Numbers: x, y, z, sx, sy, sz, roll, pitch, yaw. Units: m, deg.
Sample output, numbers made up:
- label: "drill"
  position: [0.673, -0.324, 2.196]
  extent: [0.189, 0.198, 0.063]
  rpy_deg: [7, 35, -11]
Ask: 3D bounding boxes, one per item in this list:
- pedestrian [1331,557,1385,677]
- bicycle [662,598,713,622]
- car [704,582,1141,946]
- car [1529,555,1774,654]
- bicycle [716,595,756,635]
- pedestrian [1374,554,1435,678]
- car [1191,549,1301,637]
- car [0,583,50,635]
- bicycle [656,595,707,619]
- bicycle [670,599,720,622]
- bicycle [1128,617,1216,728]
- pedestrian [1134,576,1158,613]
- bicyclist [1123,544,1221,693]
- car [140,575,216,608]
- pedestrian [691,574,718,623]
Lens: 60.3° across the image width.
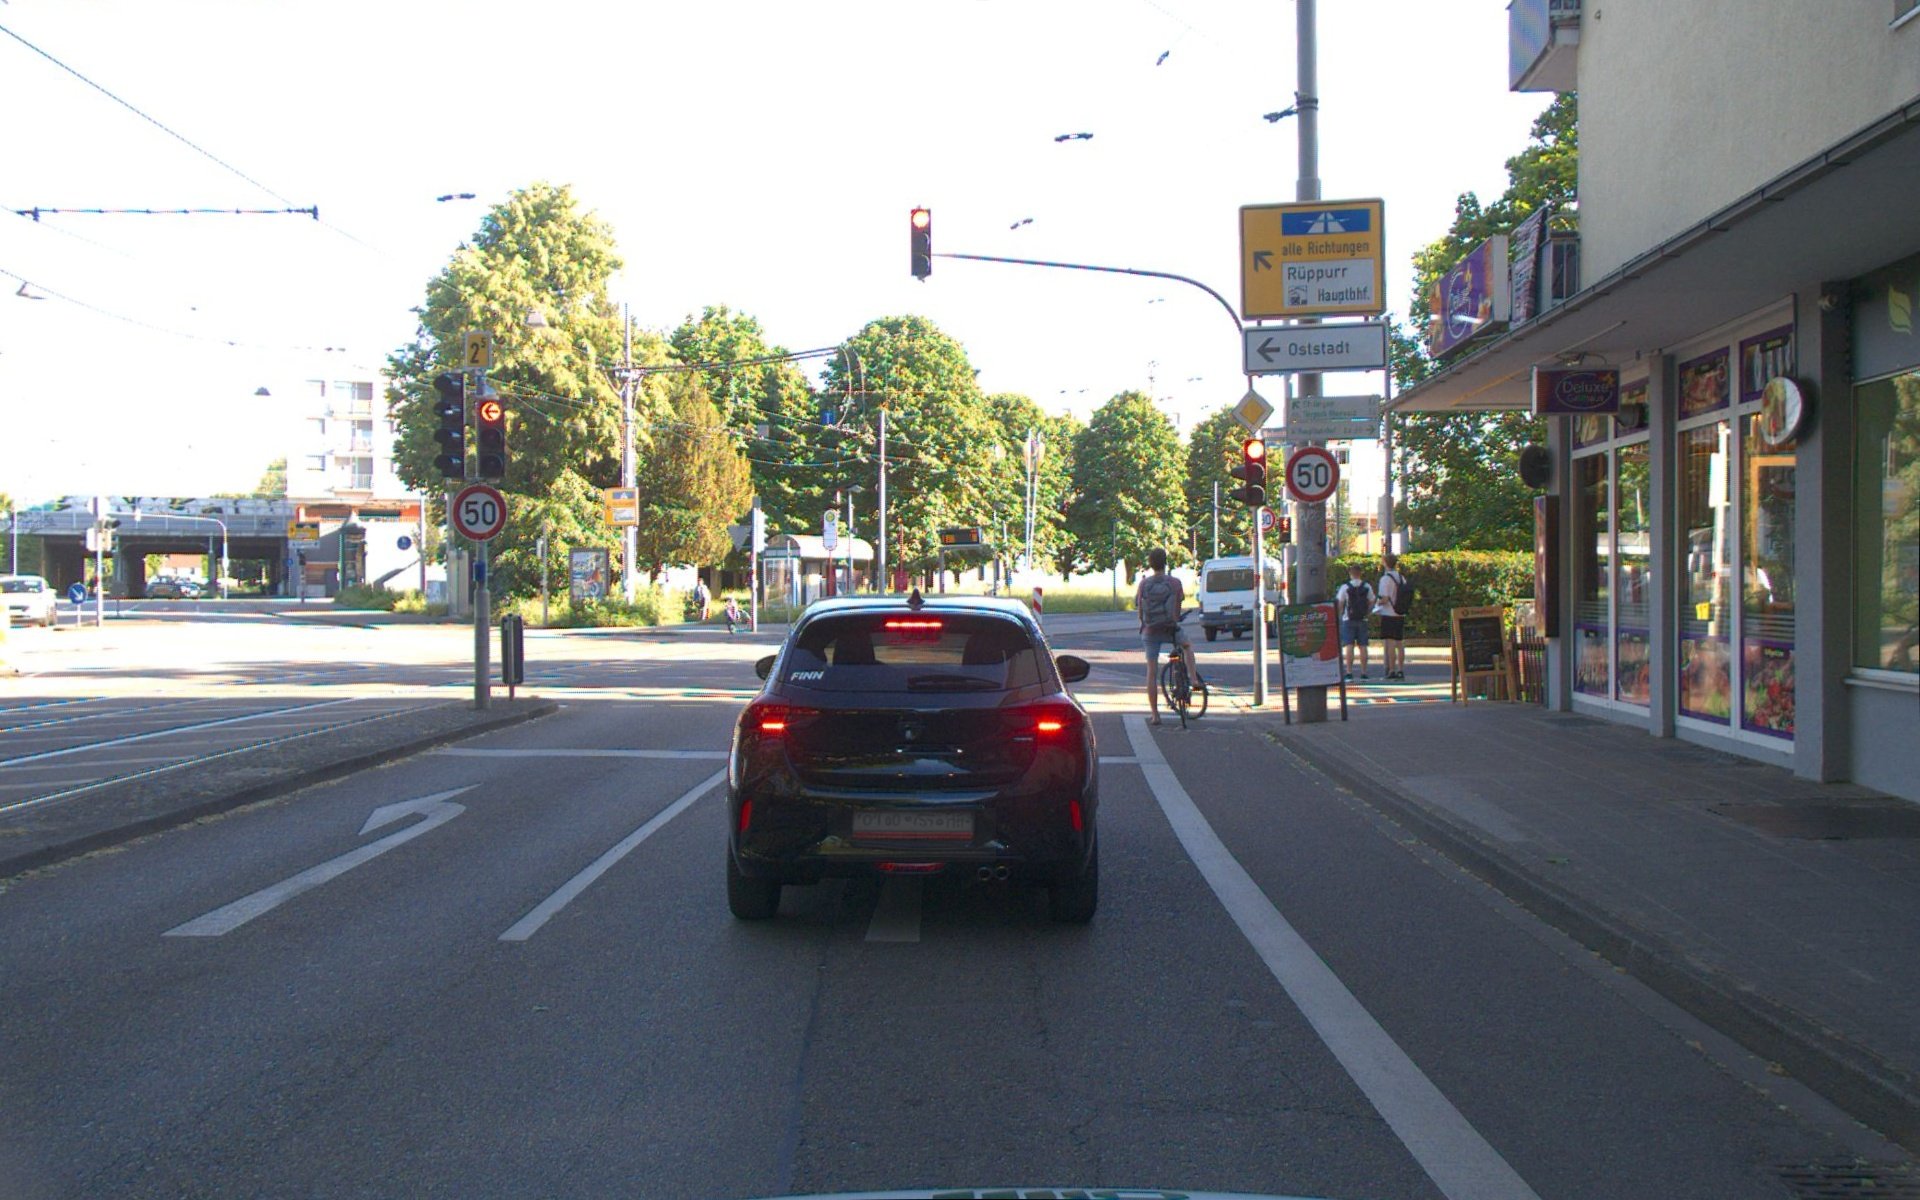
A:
- label: "pedestrian"
  position: [6.152, 0.254, 25.589]
  extent: [0.684, 1.823, 0.617]
  rpy_deg: [0, 0, -1]
- label: "bicycle"
  position: [-10.636, 0.405, 64.642]
  extent: [1.837, 0.922, 0.660]
  rpy_deg: [0, 0, 6]
- label: "car"
  position: [-0.126, 0.644, 8.684]
  extent: [1.763, 1.466, 3.940]
  rpy_deg: [0, 1, 1]
- label: "car"
  position: [13.519, 0.127, 32.557]
  extent: [4.087, 1.846, 1.807]
  rpy_deg: [0, -2, 8]
- label: "bicycle"
  position: [-6.286, 0.405, 46.517]
  extent: [0.808, 1.078, 1.883]
  rpy_deg: [0, 1, 2]
- label: "pedestrian"
  position: [6.894, 0.239, 25.656]
  extent: [0.691, 1.878, 0.697]
  rpy_deg: [0, 0, 39]
- label: "car"
  position: [8.028, -0.173, 46.135]
  extent: [2.047, 2.317, 4.304]
  rpy_deg: [1, 0, 23]
- label: "car"
  position: [-31.518, 0.274, 55.019]
  extent: [1.974, 1.660, 4.580]
  rpy_deg: [-1, 1, -32]
- label: "bicycle"
  position: [-10.716, 0.262, 63.655]
  extent: [1.837, 0.922, 0.660]
  rpy_deg: [0, 0, 6]
- label: "bicycle"
  position: [-10.503, 0.411, 65.515]
  extent: [1.837, 0.922, 0.660]
  rpy_deg: [0, 0, 6]
- label: "bicycle"
  position: [2.259, 0.748, 17.845]
  extent: [0.653, 1.078, 2.082]
  rpy_deg: [0, 1, -1]
- label: "pedestrian"
  position: [9.255, -0.278, 82.370]
  extent: [0.939, 1.824, 0.995]
  rpy_deg: [0, 0, 25]
- label: "bicyclist"
  position: [2.263, 0.182, 17.836]
  extent: [0.823, 1.536, 1.368]
  rpy_deg: [0, 0, -3]
- label: "car"
  position: [-50.160, -0.558, 106.113]
  extent: [3.903, 2.049, 2.001]
  rpy_deg: [1, 0, 5]
- label: "pedestrian"
  position: [-9.073, -0.053, 58.788]
  extent: [0.710, 1.722, 0.701]
  rpy_deg: [0, 0, 17]
